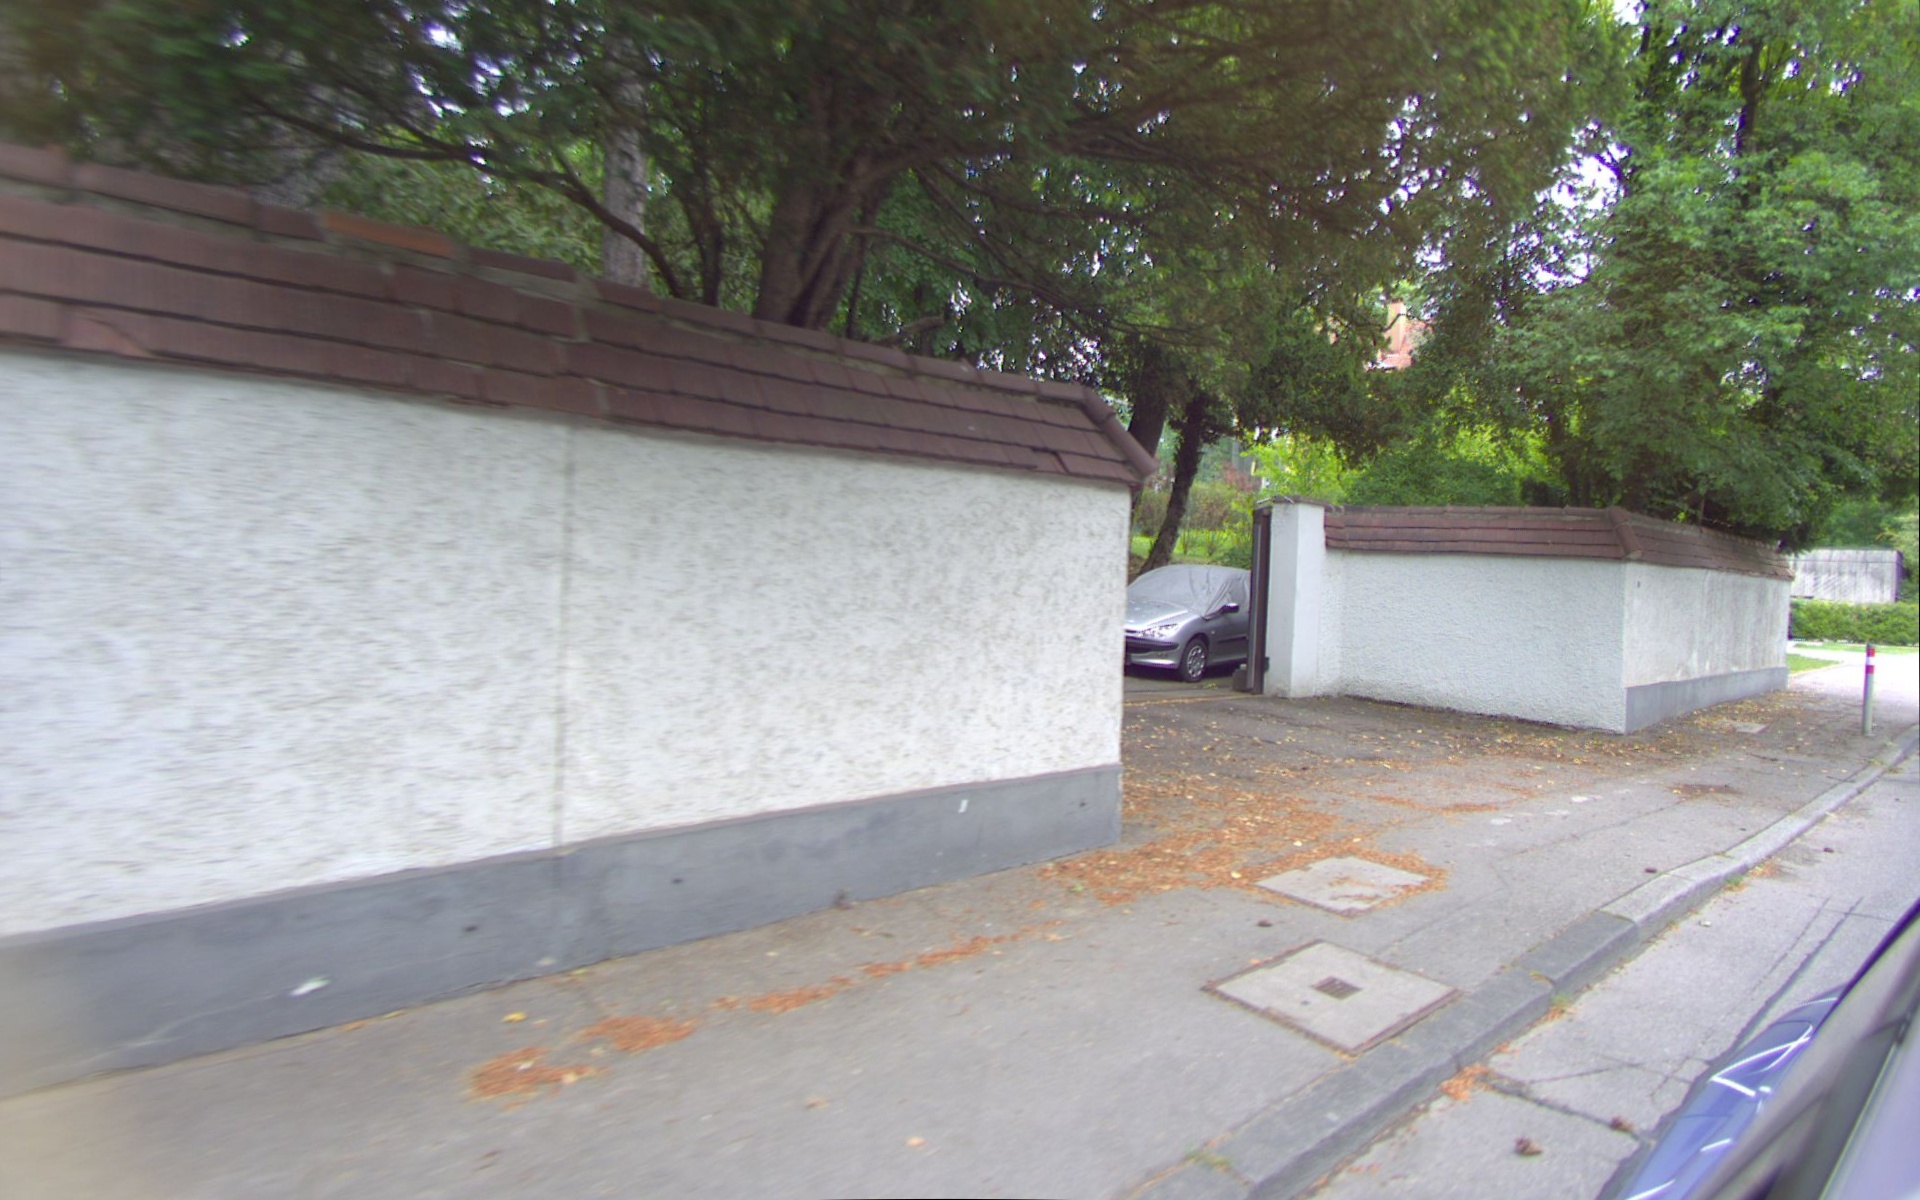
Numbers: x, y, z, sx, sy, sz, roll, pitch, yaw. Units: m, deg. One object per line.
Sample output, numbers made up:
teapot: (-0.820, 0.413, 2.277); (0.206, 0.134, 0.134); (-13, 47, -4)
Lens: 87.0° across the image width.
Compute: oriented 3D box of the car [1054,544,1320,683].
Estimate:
car: (3.255, 0.106, 14.063); (1.753, 1.504, 3.938); (10, 7, 43)
